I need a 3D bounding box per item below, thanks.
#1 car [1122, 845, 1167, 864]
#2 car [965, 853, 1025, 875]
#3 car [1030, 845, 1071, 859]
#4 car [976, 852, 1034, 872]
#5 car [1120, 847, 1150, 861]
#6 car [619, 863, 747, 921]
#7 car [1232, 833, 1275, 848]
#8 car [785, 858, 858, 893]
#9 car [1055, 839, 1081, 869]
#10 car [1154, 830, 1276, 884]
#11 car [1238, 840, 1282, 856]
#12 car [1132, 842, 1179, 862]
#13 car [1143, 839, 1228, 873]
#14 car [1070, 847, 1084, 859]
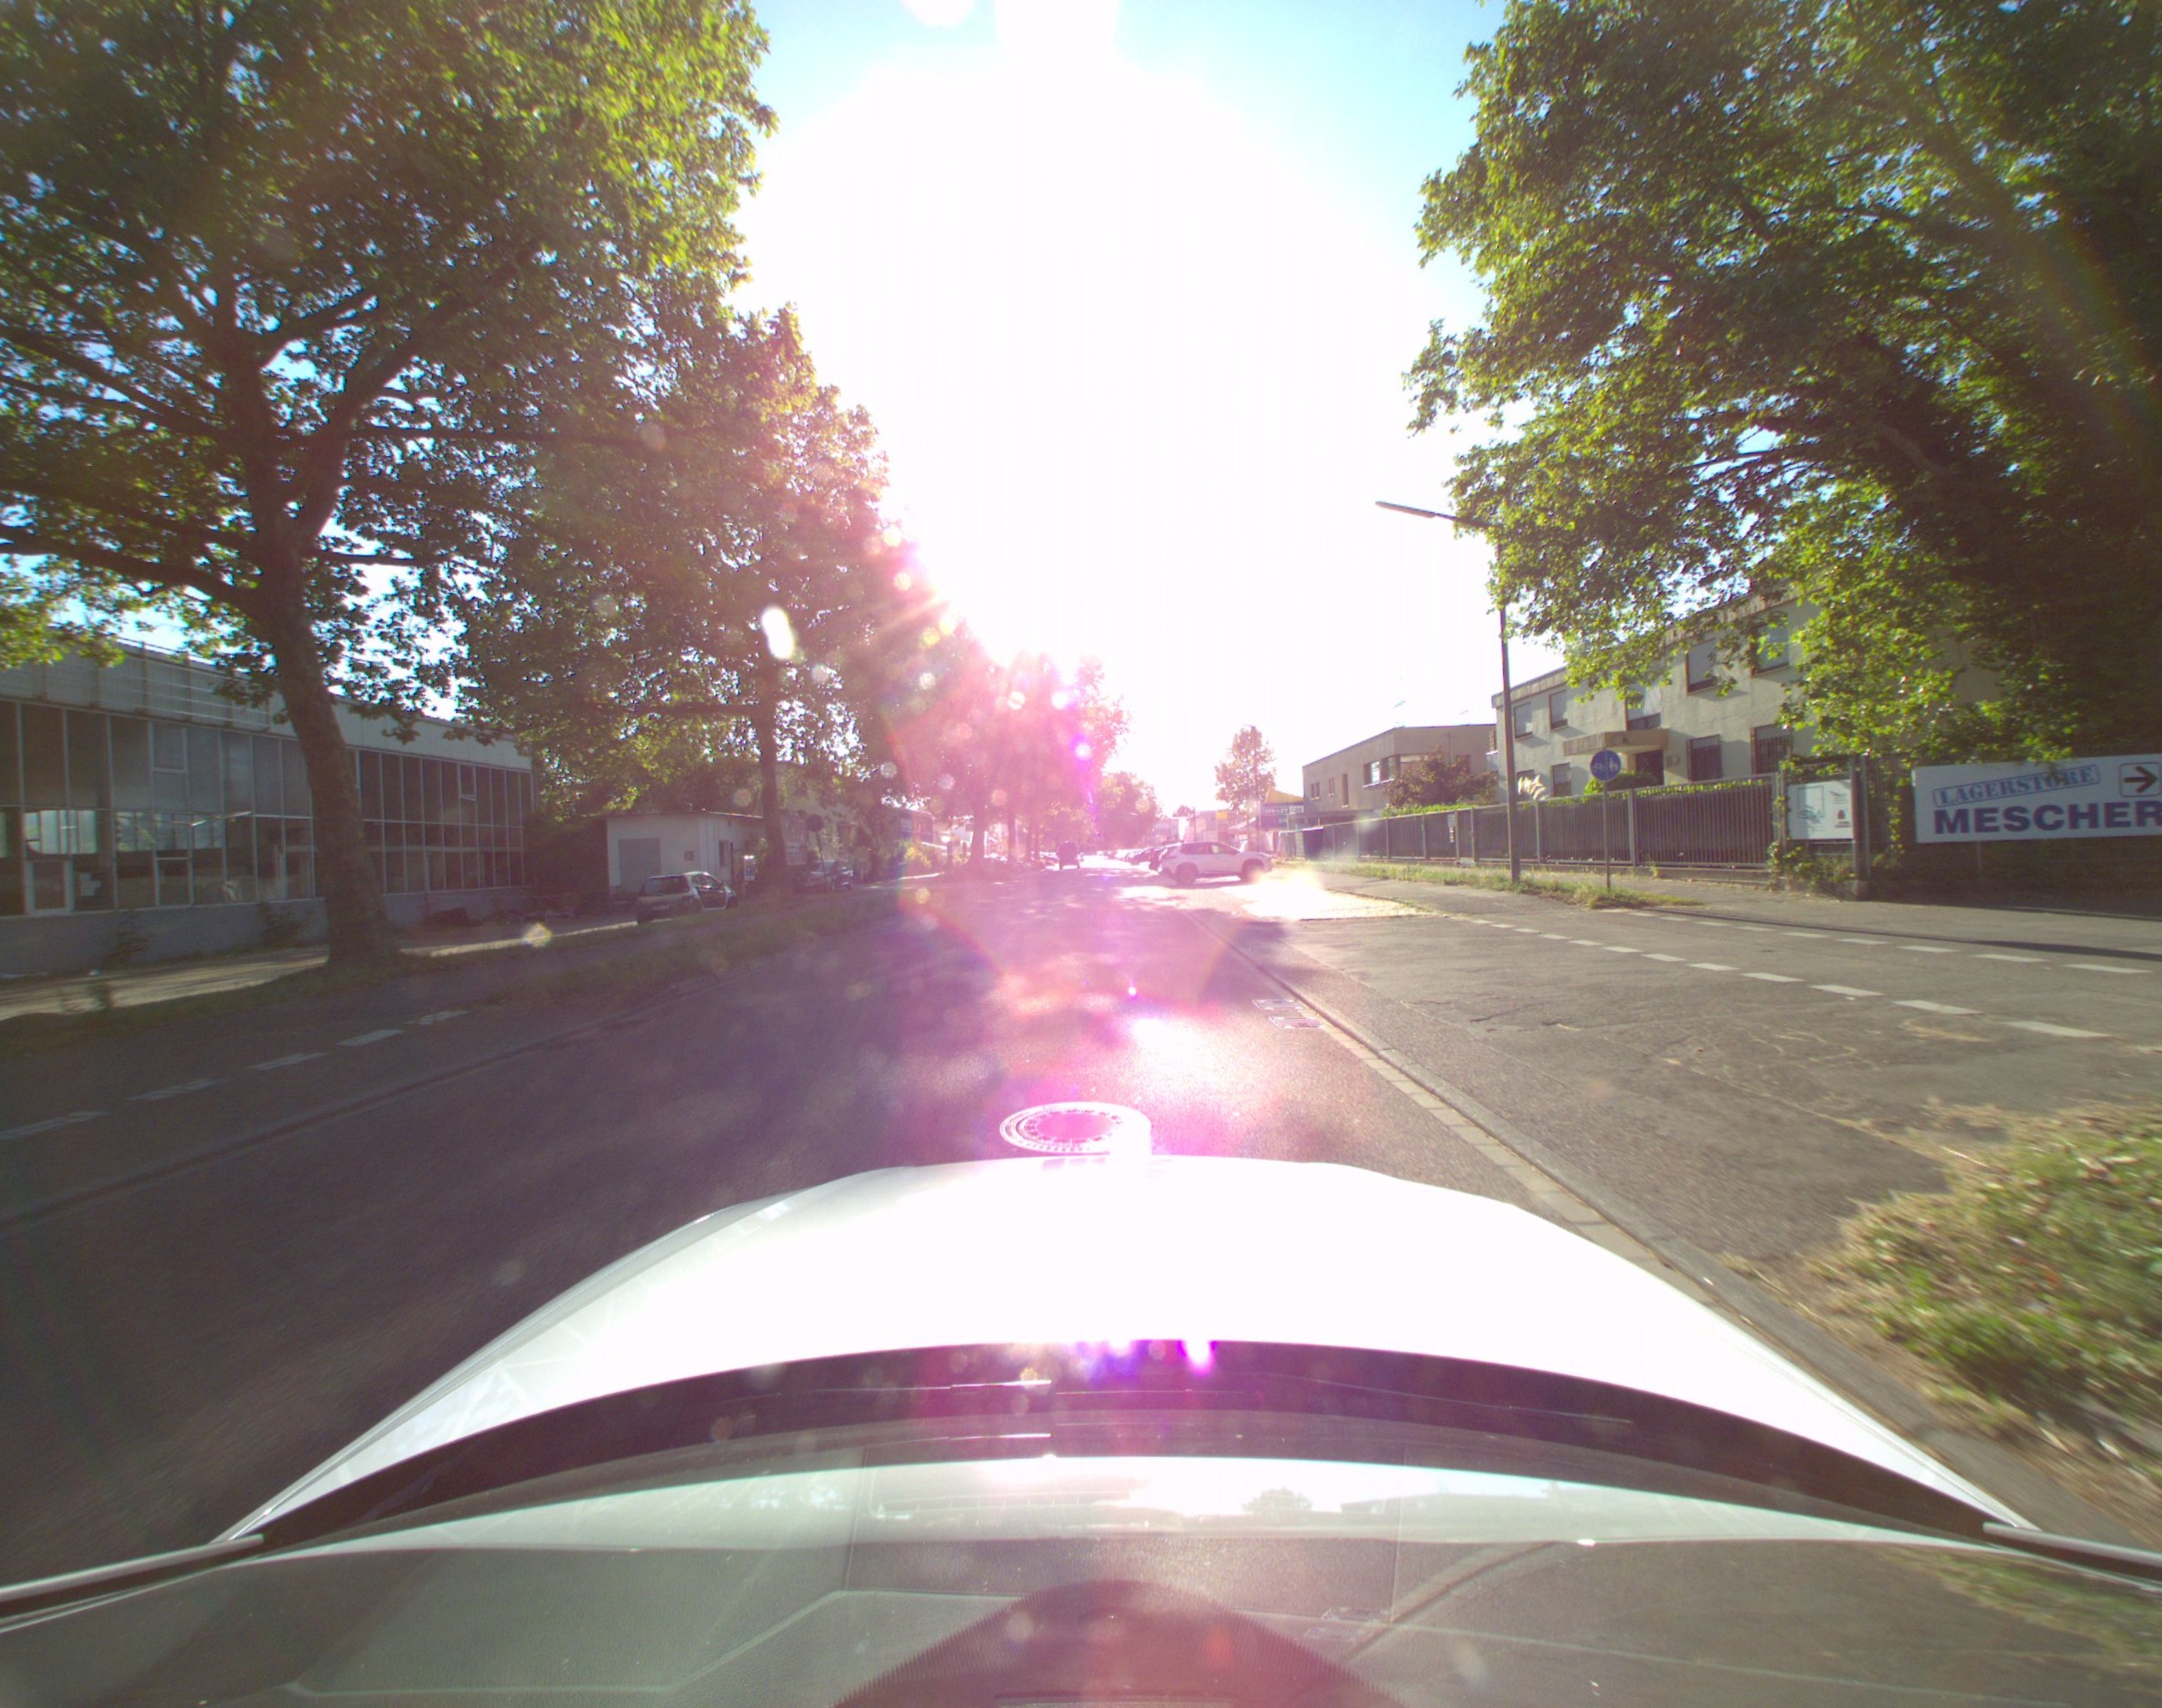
[{"bbox_3d":[6.751,0.064,87.244,4.586,1.613,2.000,-6,0,0],"label":"car"},{"bbox_3d":[-6.485,0.744,62.038,4.341,1.422,1.999,-2,1,-2],"label":"car"},{"bbox_3d":[-3.248,-0.198,87.976,4.282,1.446,2.000,-1,0,0],"label":"car"},{"bbox_3d":[-6.310,0.639,67.771,4.584,1.422,2.000,-2,1,0],"label":"car"},{"bbox_3d":[7.700,-0.005,116.390,3.978,1.587,1.866,-4,0,-3],"label":"car"},{"bbox_3d":[-11.985,1.095,24.858,1.990,1.369,3.916,-7,0,-3],"label":"car"},{"bbox_3d":[17.948,-1.391,84.824,3.978,1.519,1.951,-1,0,-3],"label":"car"},{"bbox_3d":[-12.683,0.995,40.109,1.985,1.576,4.276,-1,0,3],"label":"car"},{"bbox_3d":[-1.166,-0.057,79.289,2.120,2.659,7.004,-3,1,1],"label":"car"},{"bbox_3d":[5.466,0.105,33.665,4.611,1.711,1.999,-6,0,-1],"label":"car"},{"bbox_3d":[17.883,-0.569,81.439,3.978,1.497,1.998,-1,0,-3],"label":"car"},{"bbox_3d":[7.487,-0.213,81.975,4.582,1.579,2.002,-6,0,3],"label":"car"},{"bbox_3d":[6.065,0.114,47.580,4.611,1.526,1.999,-6,0,-1],"label":"car"},{"bbox_3d":[-0.535,-0.157,116.742,1.832,1.571,3.802,-4,0,1],"label":"car"}]
